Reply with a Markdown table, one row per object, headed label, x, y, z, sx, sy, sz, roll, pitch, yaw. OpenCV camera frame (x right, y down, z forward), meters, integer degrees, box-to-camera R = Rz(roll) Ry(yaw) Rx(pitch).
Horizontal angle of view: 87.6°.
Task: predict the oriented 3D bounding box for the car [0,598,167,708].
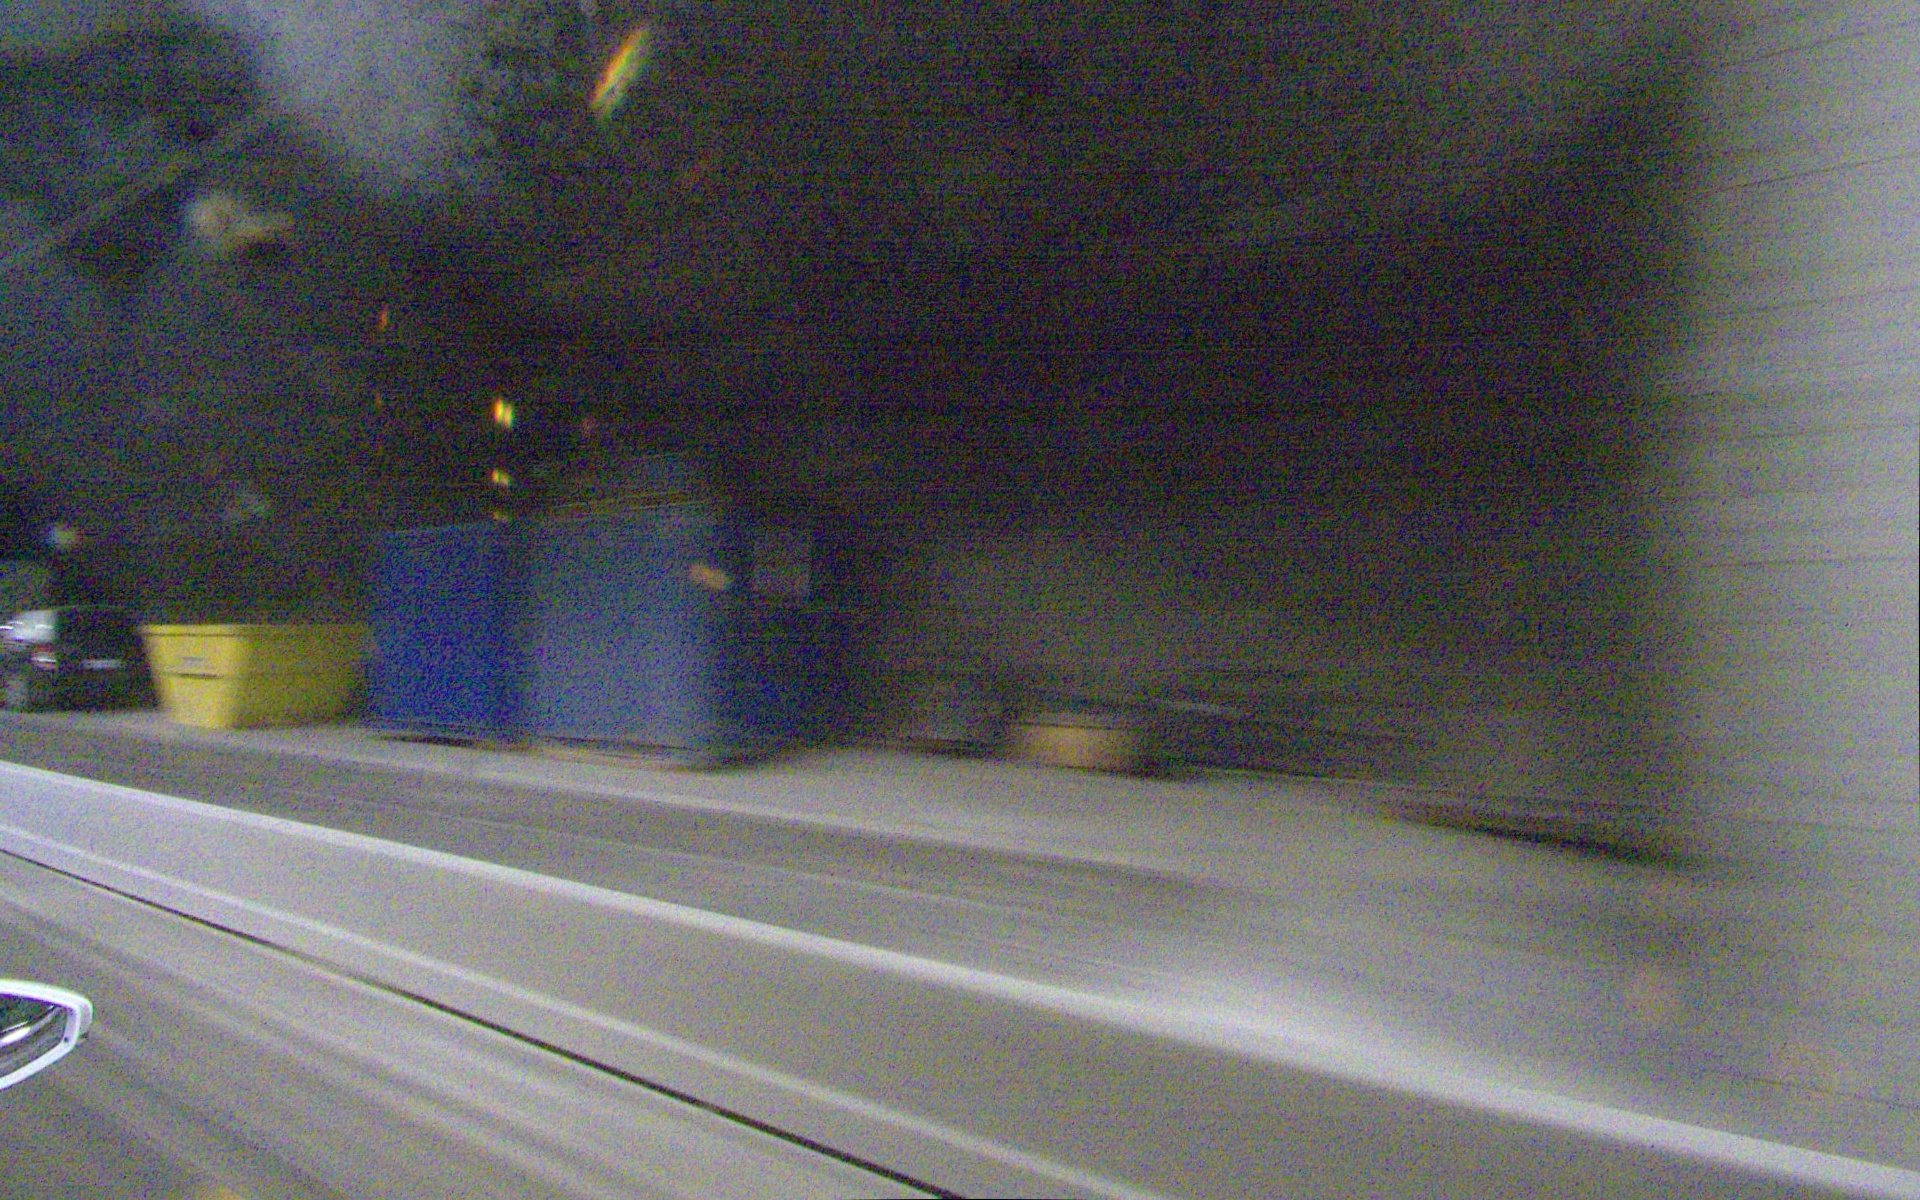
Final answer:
| label | x | y | z | sx | sy | sz | roll | pitch | yaw |
| --- | --- | --- | --- | --- | --- | --- | --- | --- | --- |
| car | -17.636 | 0.964 | 19.363 | 5.361 | 1.882 | 1.825 | -1 | -2 | 31 |
